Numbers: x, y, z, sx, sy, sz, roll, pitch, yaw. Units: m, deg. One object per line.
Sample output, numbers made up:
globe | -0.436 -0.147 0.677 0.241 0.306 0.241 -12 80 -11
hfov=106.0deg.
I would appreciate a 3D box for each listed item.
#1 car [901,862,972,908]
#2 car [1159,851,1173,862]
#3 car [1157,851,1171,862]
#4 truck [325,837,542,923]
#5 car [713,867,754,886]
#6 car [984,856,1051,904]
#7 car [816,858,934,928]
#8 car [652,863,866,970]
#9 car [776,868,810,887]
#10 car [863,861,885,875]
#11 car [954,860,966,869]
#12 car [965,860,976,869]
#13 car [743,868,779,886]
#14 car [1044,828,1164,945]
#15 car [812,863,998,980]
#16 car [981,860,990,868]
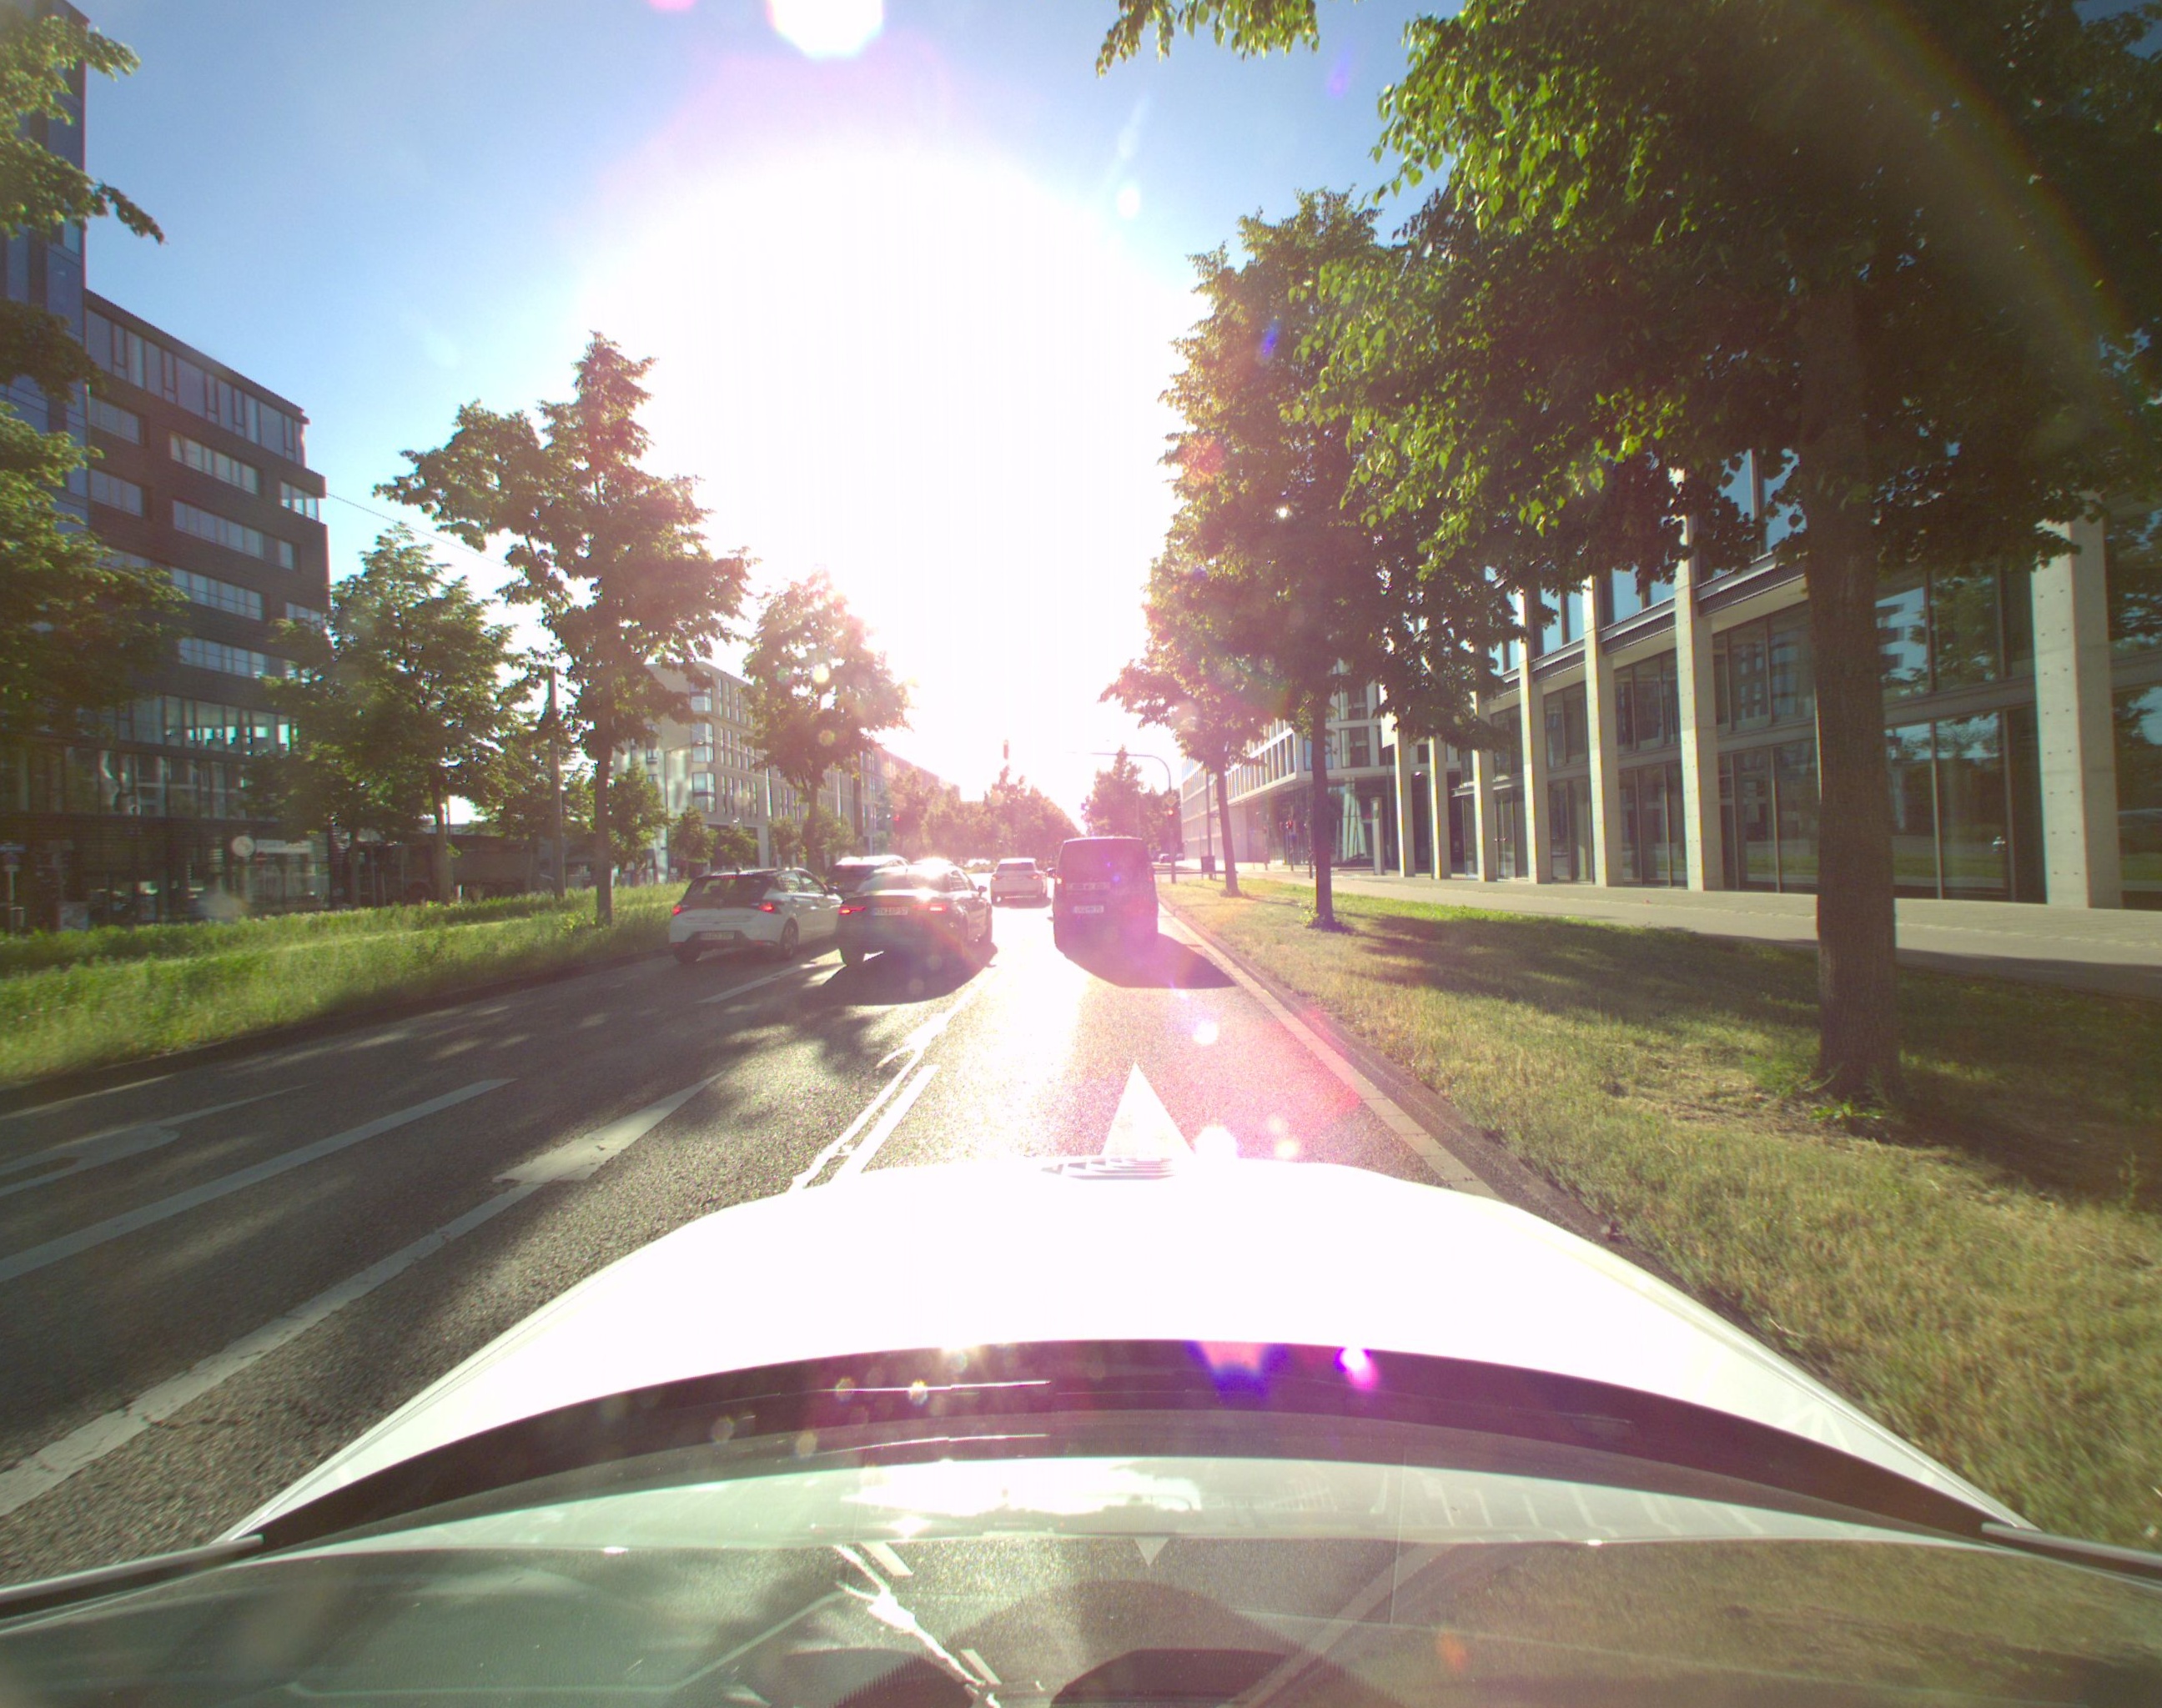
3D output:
car | -5.098 1.044 29.257 1.794 1.483 4.566 1 0 -1
car | 14.437 0.438 137.906 1.986 1.782 4.001 -3 0 2
car | 14.548 0.478 143.077 1.986 1.782 4.001 -3 0 2
truck | -33.382 1.222 42.863 2.880 3.853 10.217 -3 0 2
car | -30.816 1.988 72.291 1.758 1.520 4.002 -3 0 2
car | -2.105 0.834 27.957 1.797 1.426 3.902 -2 0 2
car | -5.128 0.914 20.936 1.793 1.447 4.568 -4 0 0
car | -5.330 0.941 14.227 1.793 1.447 4.569 -3 0 1
car | -31.578 2.551 89.459 1.986 1.814 4.372 -3 0 2
car | -30.714 2.069 120.810 1.986 2.013 4.001 -3 0 2
car | -28.817 2.562 193.579 1.986 2.013 4.001 -3 0 2
car | -28.546 2.696 210.397 1.986 2.013 4.001 -3 0 2
car | -30.770 2.168 78.443 1.758 1.520 4.002 -3 0 2
car | 0.426 0.523 14.980 1.835 1.780 4.001 -2 0 2
car | -2.540 0.911 12.903 1.835 1.426 4.340 -2 0 2
car | -27.404 2.879 234.027 1.986 2.013 4.001 -3 0 2
